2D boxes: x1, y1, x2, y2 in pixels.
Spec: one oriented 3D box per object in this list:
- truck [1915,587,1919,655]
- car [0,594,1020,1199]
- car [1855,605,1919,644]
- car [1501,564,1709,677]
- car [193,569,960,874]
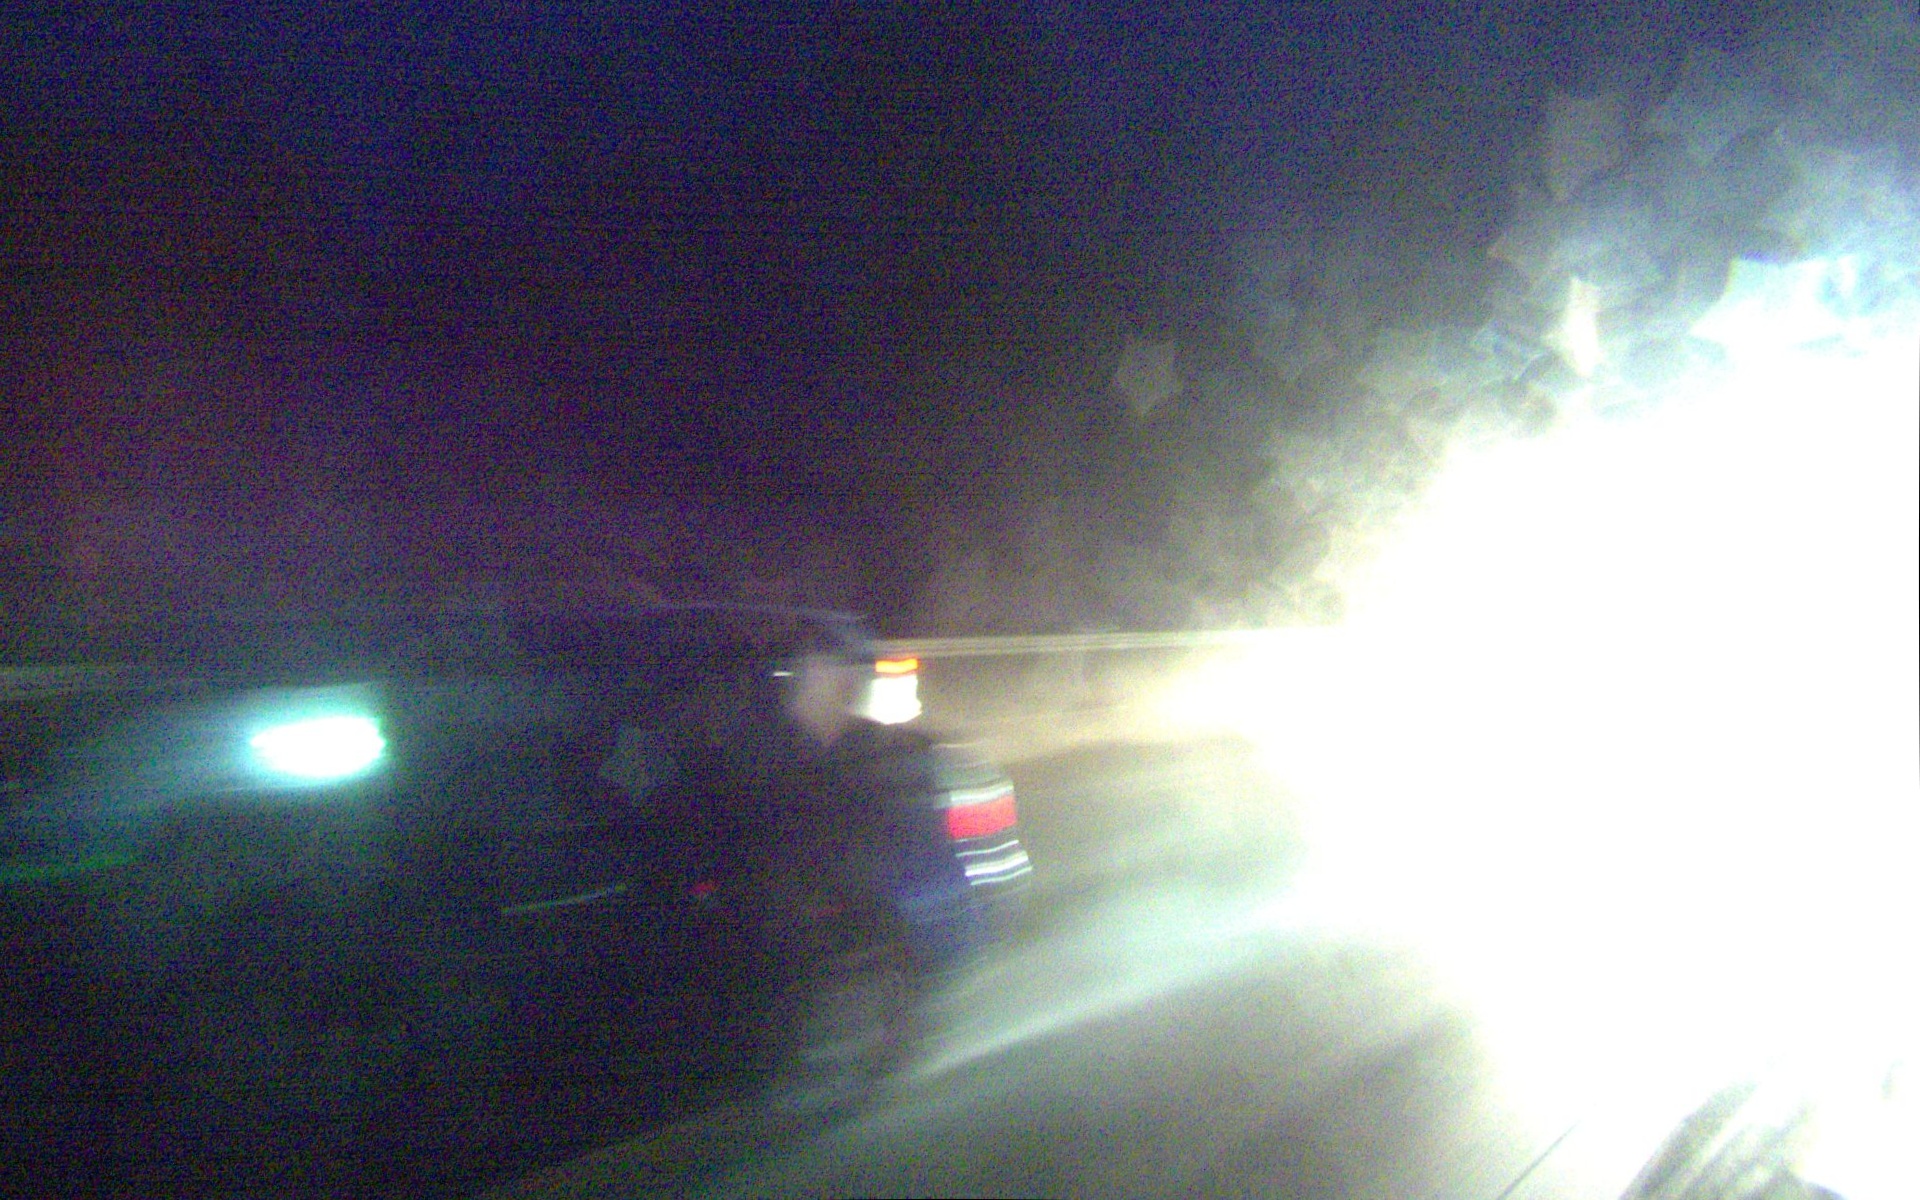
[{"bbox_3d":[26.780,0.509,26.673,4.769,1.717,1.847,-1,0,-41],"label":"truck"},{"bbox_3d":[-1.717,0.708,2.596,3.727,1.430,1.614,-1,1,-42],"label":"car"},{"bbox_3d":[38.220,0.975,41.412,5.272,1.498,1.746,0,-1,-41],"label":"car"},{"bbox_3d":[13.133,0.359,20.446,5.310,1.999,2.050,0,0,-40],"label":"car"},{"bbox_3d":[-2.427,0.606,7.352,4.877,1.505,1.896,0,0,-42],"label":"car"}]
